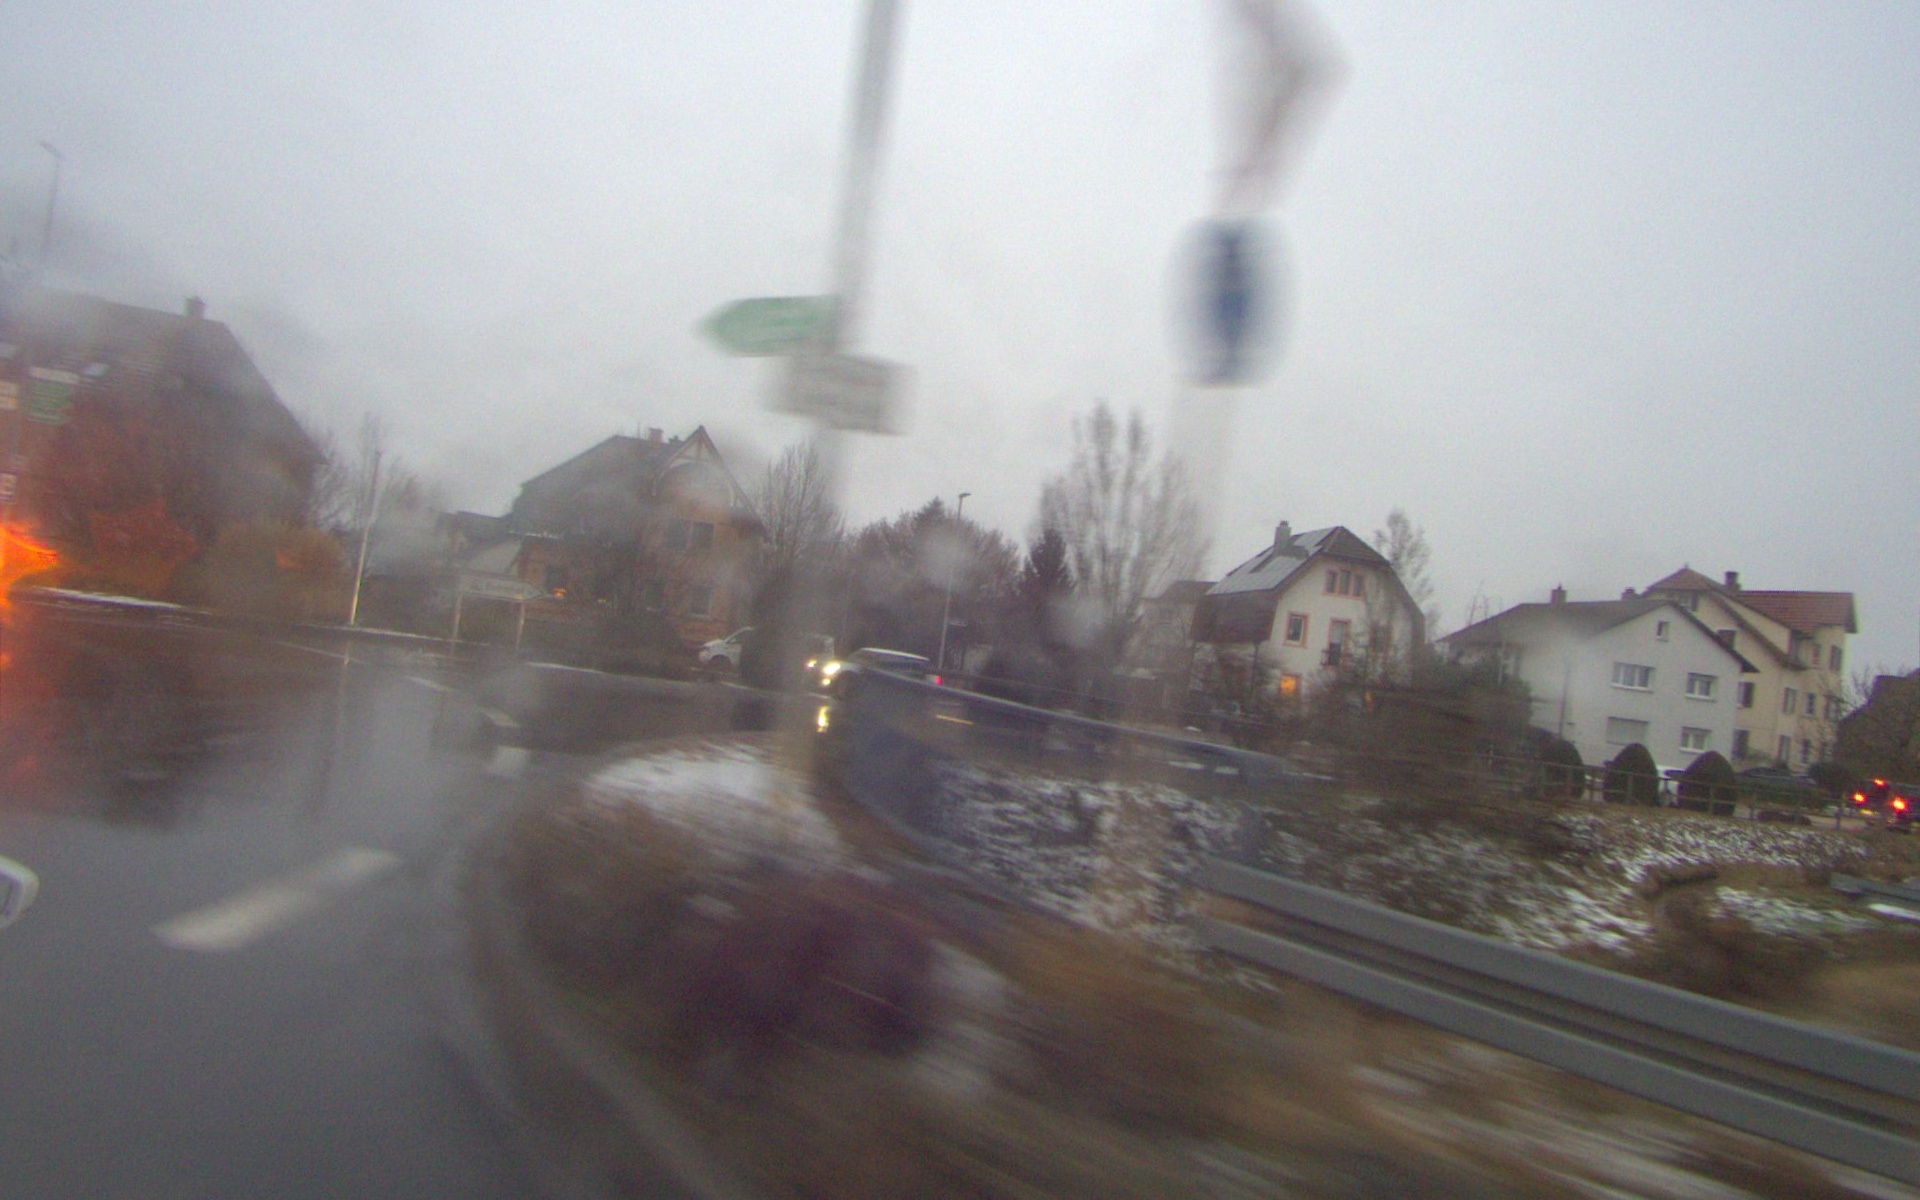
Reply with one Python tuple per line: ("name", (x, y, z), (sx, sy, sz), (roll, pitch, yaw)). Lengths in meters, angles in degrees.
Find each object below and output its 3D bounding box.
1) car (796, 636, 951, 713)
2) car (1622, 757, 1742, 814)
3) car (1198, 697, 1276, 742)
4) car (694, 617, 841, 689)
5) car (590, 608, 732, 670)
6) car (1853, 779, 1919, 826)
("car", (-2.302, 2.009, 26.970), (3.679, 1.507, 1.650), (11, -5, -33))
("car", (26.679, 6.865, 37.201), (3.802, 1.507, 1.755), (10, -4, -21))
("car", (12.729, 5.477, 46.553), (1.883, 1.503, 3.996), (7, -2, -9))
("car", (-7.272, 2.033, 38.293), (5.160, 1.938, 1.939), (9, -4, -9))
("car", (-12.263, 1.601, 41.655), (5.242, 1.887, 2.364), (7, -1, -10))
("car", (38.379, 8.265, 40.345), (3.650, 1.507, 1.918), (9, -4, -9))
